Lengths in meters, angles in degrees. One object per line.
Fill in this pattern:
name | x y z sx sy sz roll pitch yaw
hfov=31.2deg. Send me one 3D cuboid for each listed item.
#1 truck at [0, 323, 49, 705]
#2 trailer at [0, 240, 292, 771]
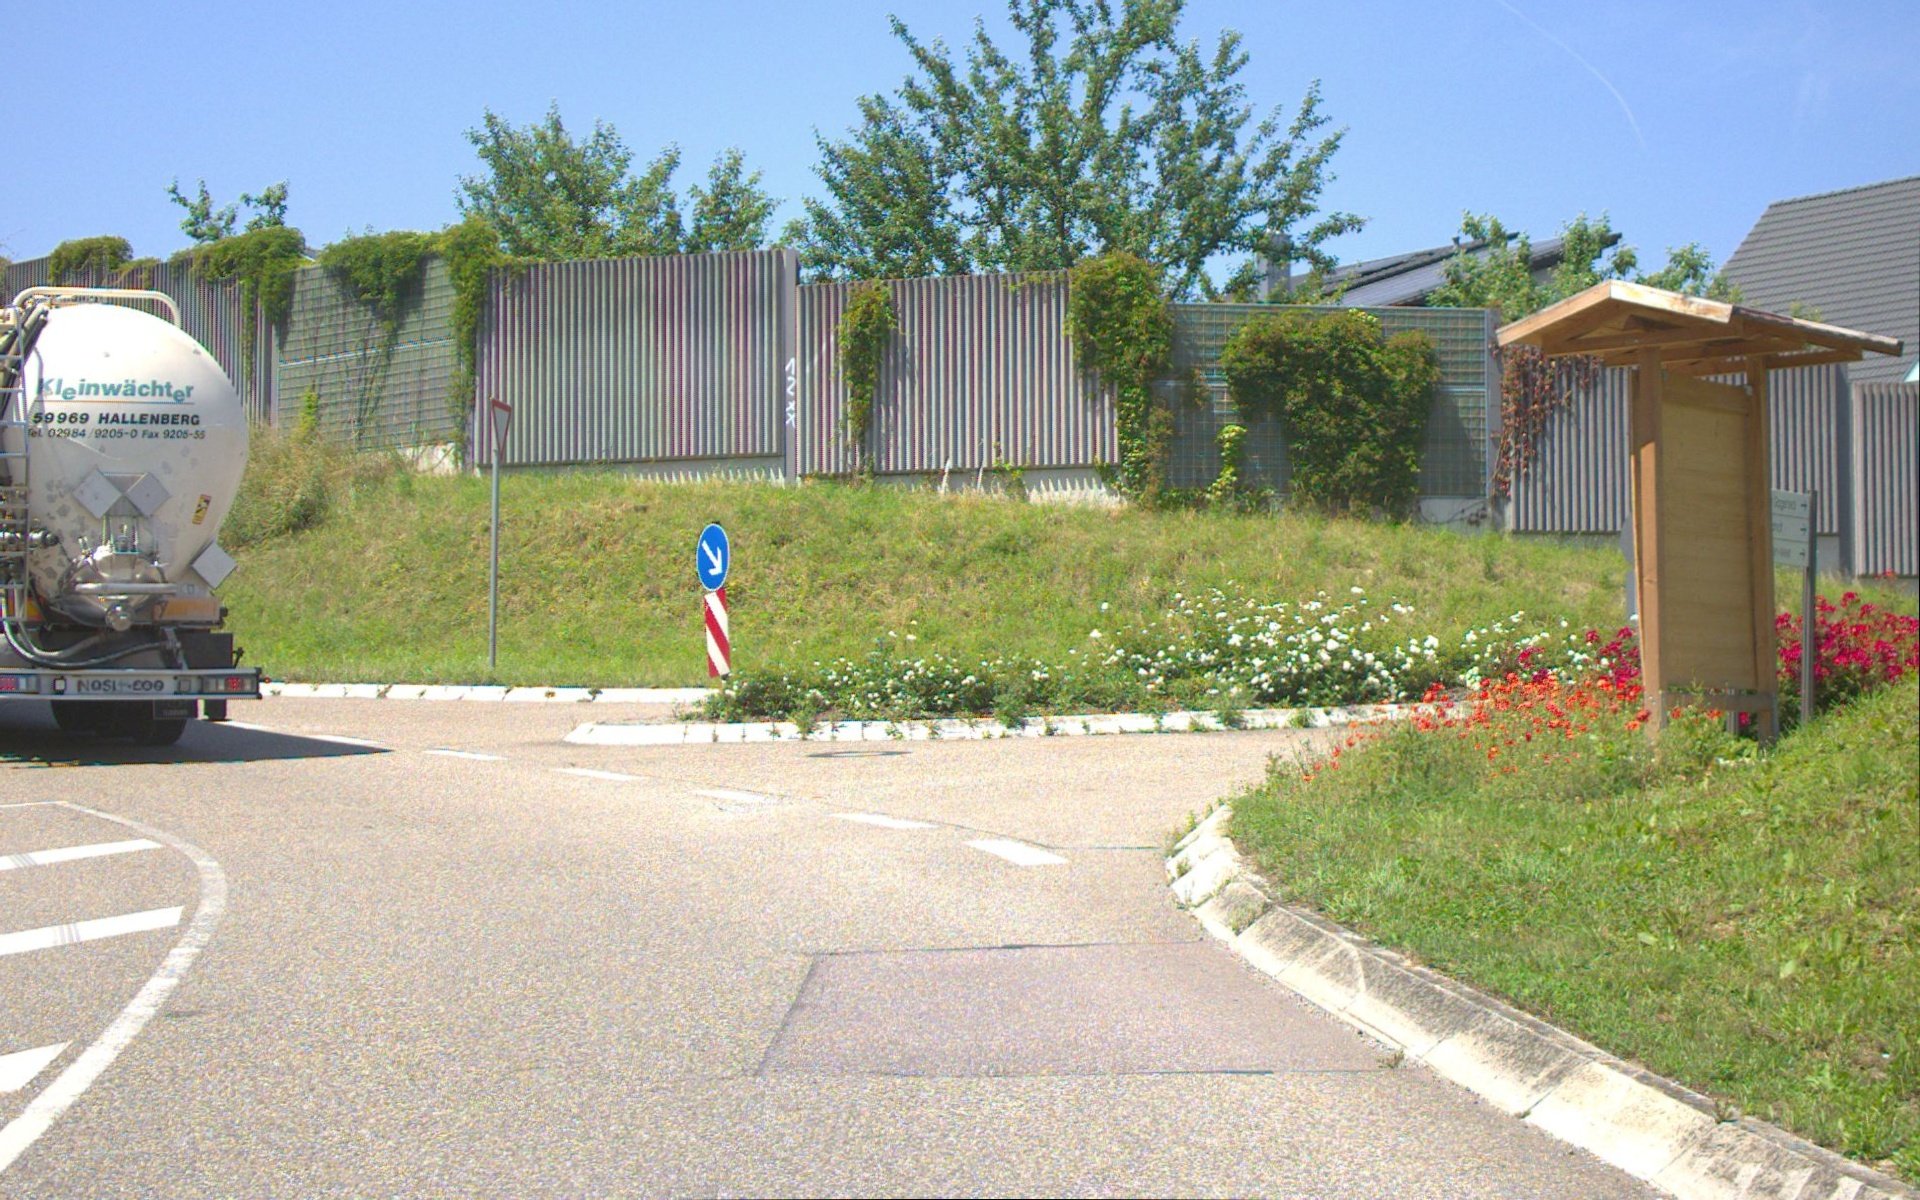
truck | -12.533 -0.918 37.874 2.727 3.916 7.263 -2 2 -32
trailer | -9.541 -0.883 32.752 2.661 4.174 11.905 -1 2 -29
